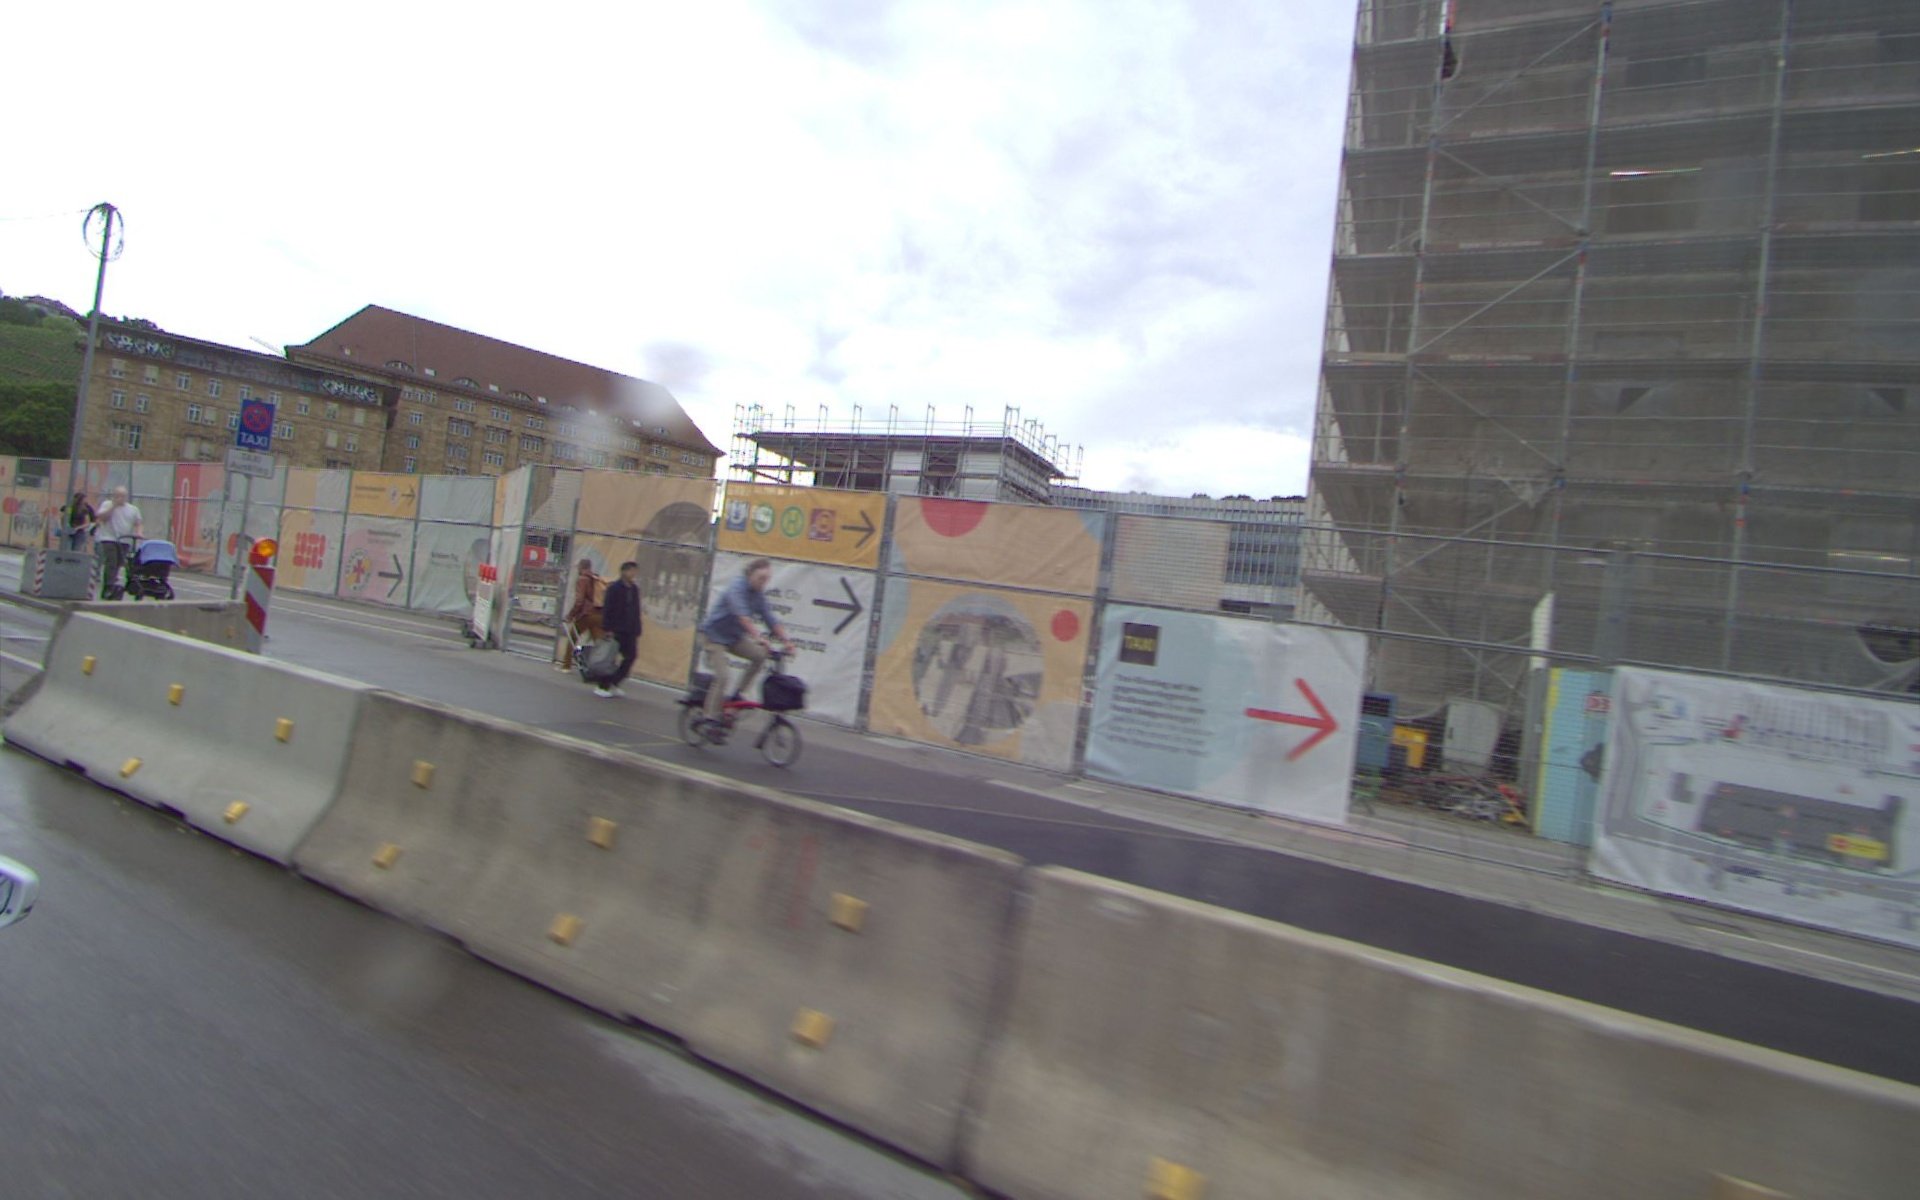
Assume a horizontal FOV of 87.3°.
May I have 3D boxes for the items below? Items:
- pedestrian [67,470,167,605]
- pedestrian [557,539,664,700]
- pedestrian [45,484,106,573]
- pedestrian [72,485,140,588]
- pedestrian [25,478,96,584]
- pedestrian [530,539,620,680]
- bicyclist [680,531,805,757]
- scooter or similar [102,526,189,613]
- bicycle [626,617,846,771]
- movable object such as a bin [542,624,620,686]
[{"bbox_3d":[-13.726,-1.017,16.390,0.956,2.040,0.804,7,-1,33],"label":"pedestrian"},{"bbox_3d":[-4.445,0.263,12.835,0.651,1.917,0.850,7,-1,32],"label":"pedestrian"},{"bbox_3d":[-20.395,-1.648,23.192,0.681,1.911,0.685,7,-1,29],"label":"pedestrian"},{"bbox_3d":[-16.962,-1.255,19.985,0.682,1.911,0.684,7,-1,32],"label":"pedestrian"},{"bbox_3d":[-17.317,-1.324,19.377,0.682,1.911,0.684,7,-1,32],"label":"pedestrian"},{"bbox_3d":[-5.546,0.147,14.503,0.643,1.917,0.768,7,-1,32],"label":"pedestrian"},{"bbox_3d":[-2.075,0.427,9.645,0.589,2.037,0.728,7,-1,32],"label":"bicyclist"},{"bbox_3d":[-12.890,-0.482,15.917,1.027,1.212,0.666,7,-1,32],"label":"scooter or similar"},{"bbox_3d":[-2.153,0.862,9.573,1.948,1.125,0.767,7,-1,32],"label":"bicycle"},{"bbox_3d":[-5.284,0.772,14.030,0.764,0.743,0.598,7,-1,29],"label":"movable object such as a bin"}]
